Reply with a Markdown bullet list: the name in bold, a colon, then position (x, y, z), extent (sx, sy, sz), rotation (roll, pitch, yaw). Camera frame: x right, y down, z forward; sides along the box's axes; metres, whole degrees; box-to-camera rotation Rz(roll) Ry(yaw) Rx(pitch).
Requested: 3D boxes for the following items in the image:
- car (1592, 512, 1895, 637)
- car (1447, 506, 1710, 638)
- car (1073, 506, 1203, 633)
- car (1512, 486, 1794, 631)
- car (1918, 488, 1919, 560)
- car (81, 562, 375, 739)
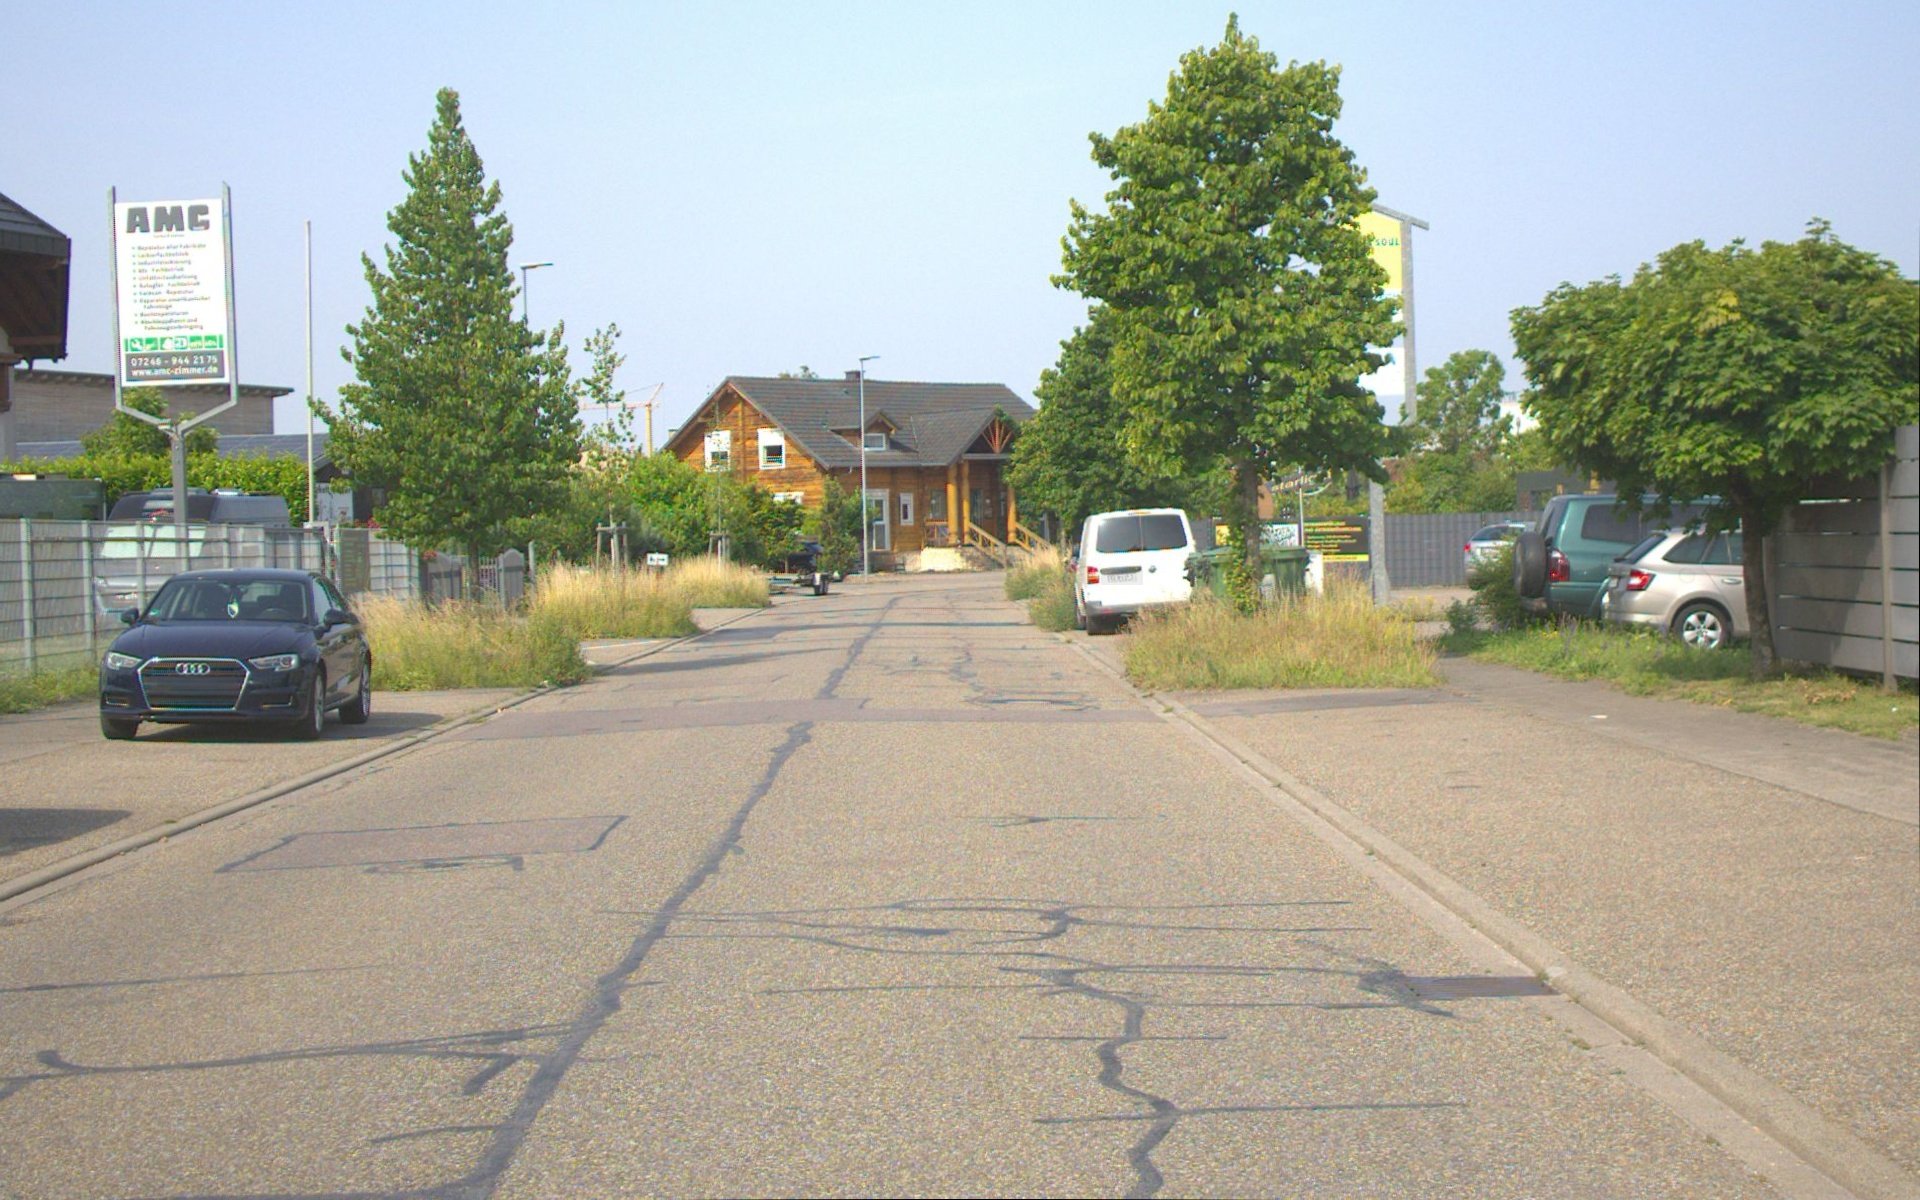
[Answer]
- **car**: position (8.699, -0.293, 38.354), extent (3.144, 1.262, 1.392), rotation (-2, 1, 8)
- **car**: position (7.707, -0.357, 43.035), extent (3.144, 1.516, 1.392), rotation (-2, 1, 8)
- **car**: position (2.851, -0.509, 55.654), extent (1.837, 1.917, 3.756), rotation (-2, 1, 0)
- **car**: position (8.174, -0.496, 40.747), extent (3.144, 1.574, 1.392), rotation (-2, 1, 8)
- **car**: position (3.154, 0.527, 5.869), extent (1.794, 1.555, 4.000), rotation (-2, 1, -1)
- **car**: position (-6.203, 0.388, 29.499), extent (1.800, 1.382, 3.638), rotation (0, 1, -1)
